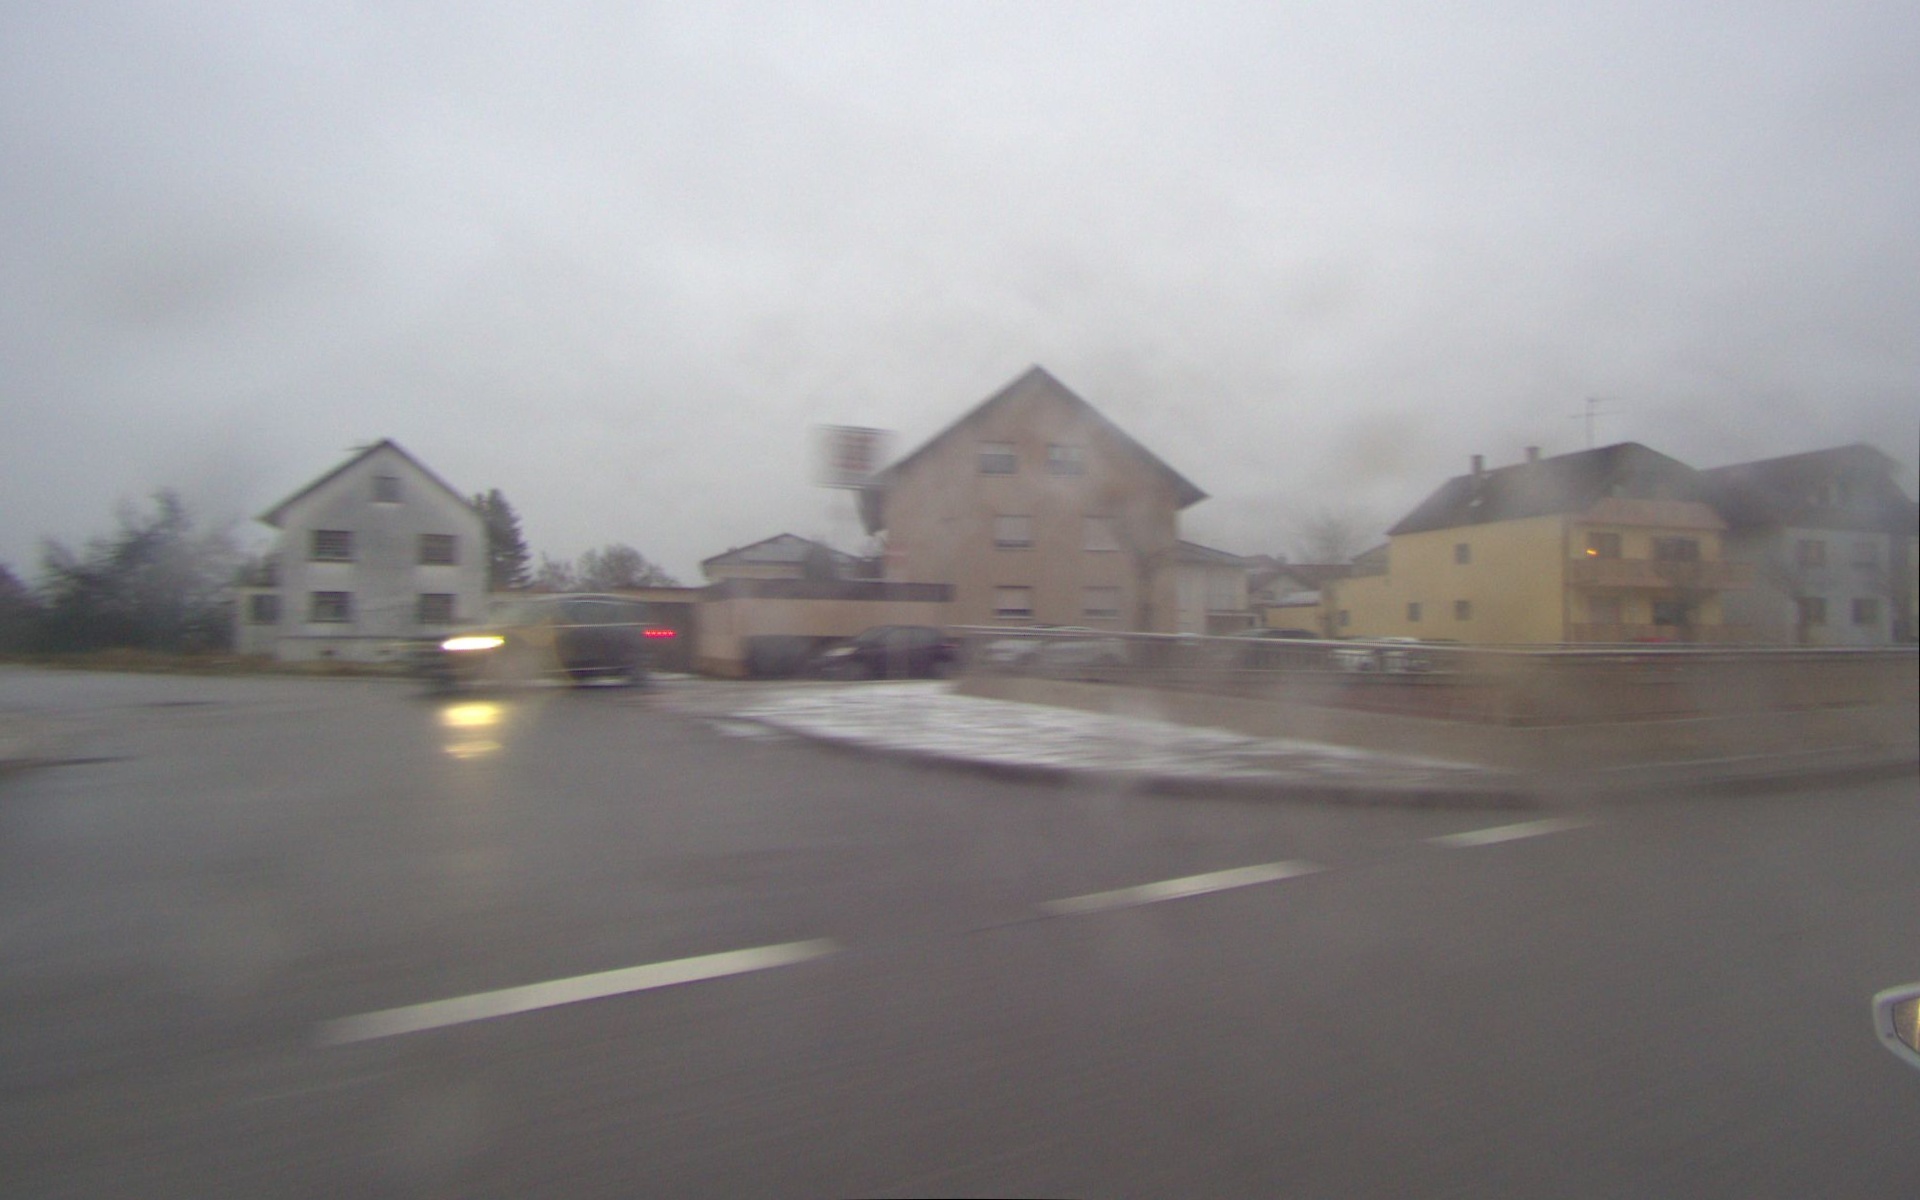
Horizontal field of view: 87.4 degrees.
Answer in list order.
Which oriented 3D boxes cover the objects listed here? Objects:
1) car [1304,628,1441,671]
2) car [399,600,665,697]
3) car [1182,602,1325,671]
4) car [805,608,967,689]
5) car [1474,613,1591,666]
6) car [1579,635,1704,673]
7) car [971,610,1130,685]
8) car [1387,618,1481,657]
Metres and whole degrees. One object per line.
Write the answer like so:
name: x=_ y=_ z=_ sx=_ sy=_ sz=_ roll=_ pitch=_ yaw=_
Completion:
car: x=14.004 y=1.661 z=34.132 sx=4.050 sy=1.325 sz=1.991 roll=1 pitch=0 yaw=-20
car: x=-7.164 y=0.756 z=17.311 sx=1.367 sy=1.457 sz=4.330 roll=1 pitch=0 yaw=28
car: x=9.262 y=1.140 z=31.771 sx=3.939 sy=2.040 sz=1.991 roll=1 pitch=0 yaw=-20
car: x=-1.985 y=1.262 z=26.987 sx=3.943 sy=2.040 sz=1.913 roll=1 pitch=0 yaw=-23
car: x=23.639 y=1.582 z=41.638 sx=1.967 sy=2.040 sz=3.988 roll=1 pitch=0 yaw=-15
car: x=26.262 y=2.055 z=38.708 sx=4.050 sy=1.325 sz=1.991 roll=1 pitch=0 yaw=-20
car: x=2.624 y=1.339 z=29.238 sx=4.162 sy=2.040 sz=1.989 roll=1 pitch=0 yaw=-23
car: x=22.233 y=1.746 z=47.288 sx=1.816 sy=1.684 sz=4.026 roll=1 pitch=0 yaw=-15
